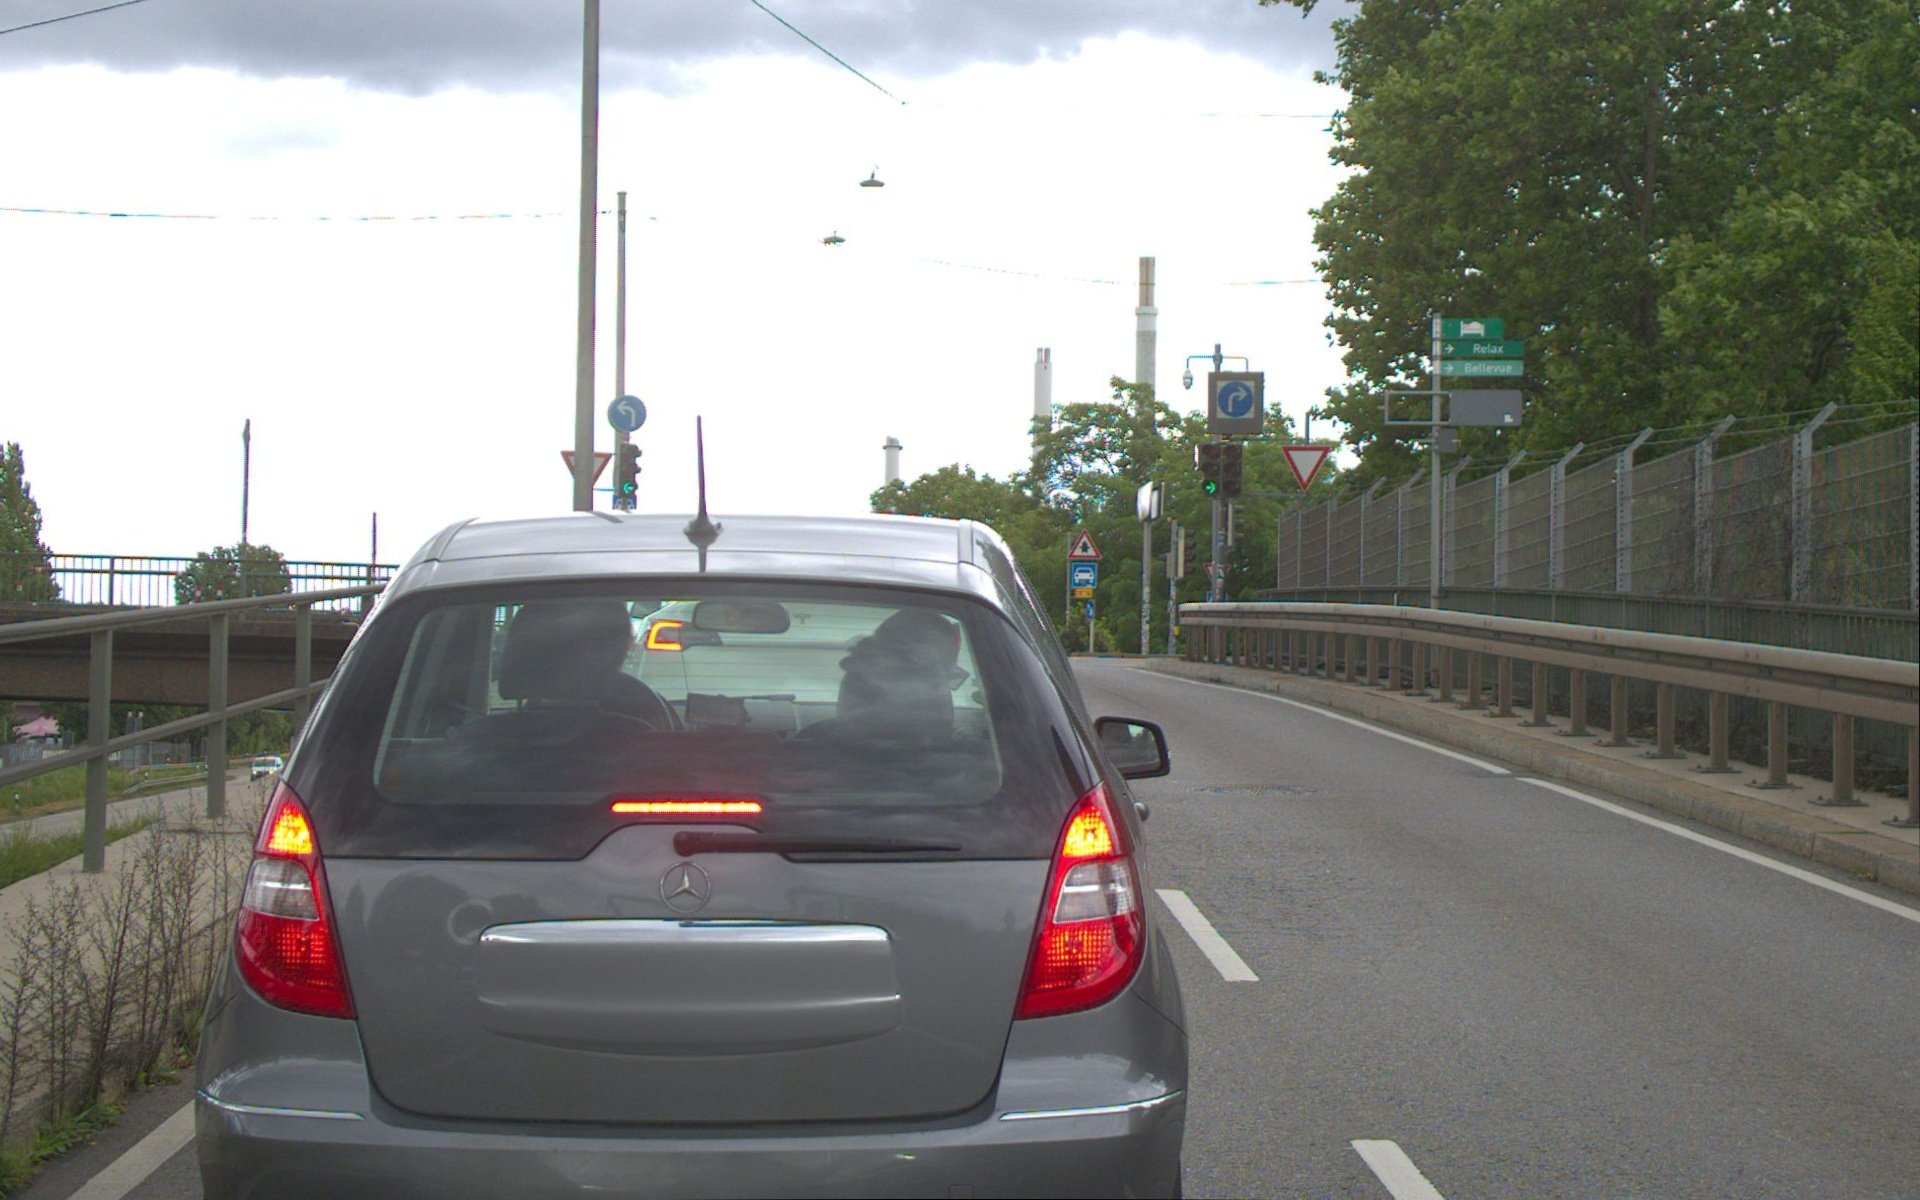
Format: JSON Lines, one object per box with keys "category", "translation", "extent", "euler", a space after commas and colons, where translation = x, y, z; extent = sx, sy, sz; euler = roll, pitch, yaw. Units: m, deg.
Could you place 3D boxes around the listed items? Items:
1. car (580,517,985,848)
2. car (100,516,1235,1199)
{"category": "car", "translation": [-0.907, 0.359, 18.948], "extent": [1.993, 1.597, 4.001], "euler": [0, 2, -1]}
{"category": "car", "translation": [-0.319, 0.626, 7.530], "extent": [1.750, 1.575, 4.084], "euler": [0, 1, 6]}
